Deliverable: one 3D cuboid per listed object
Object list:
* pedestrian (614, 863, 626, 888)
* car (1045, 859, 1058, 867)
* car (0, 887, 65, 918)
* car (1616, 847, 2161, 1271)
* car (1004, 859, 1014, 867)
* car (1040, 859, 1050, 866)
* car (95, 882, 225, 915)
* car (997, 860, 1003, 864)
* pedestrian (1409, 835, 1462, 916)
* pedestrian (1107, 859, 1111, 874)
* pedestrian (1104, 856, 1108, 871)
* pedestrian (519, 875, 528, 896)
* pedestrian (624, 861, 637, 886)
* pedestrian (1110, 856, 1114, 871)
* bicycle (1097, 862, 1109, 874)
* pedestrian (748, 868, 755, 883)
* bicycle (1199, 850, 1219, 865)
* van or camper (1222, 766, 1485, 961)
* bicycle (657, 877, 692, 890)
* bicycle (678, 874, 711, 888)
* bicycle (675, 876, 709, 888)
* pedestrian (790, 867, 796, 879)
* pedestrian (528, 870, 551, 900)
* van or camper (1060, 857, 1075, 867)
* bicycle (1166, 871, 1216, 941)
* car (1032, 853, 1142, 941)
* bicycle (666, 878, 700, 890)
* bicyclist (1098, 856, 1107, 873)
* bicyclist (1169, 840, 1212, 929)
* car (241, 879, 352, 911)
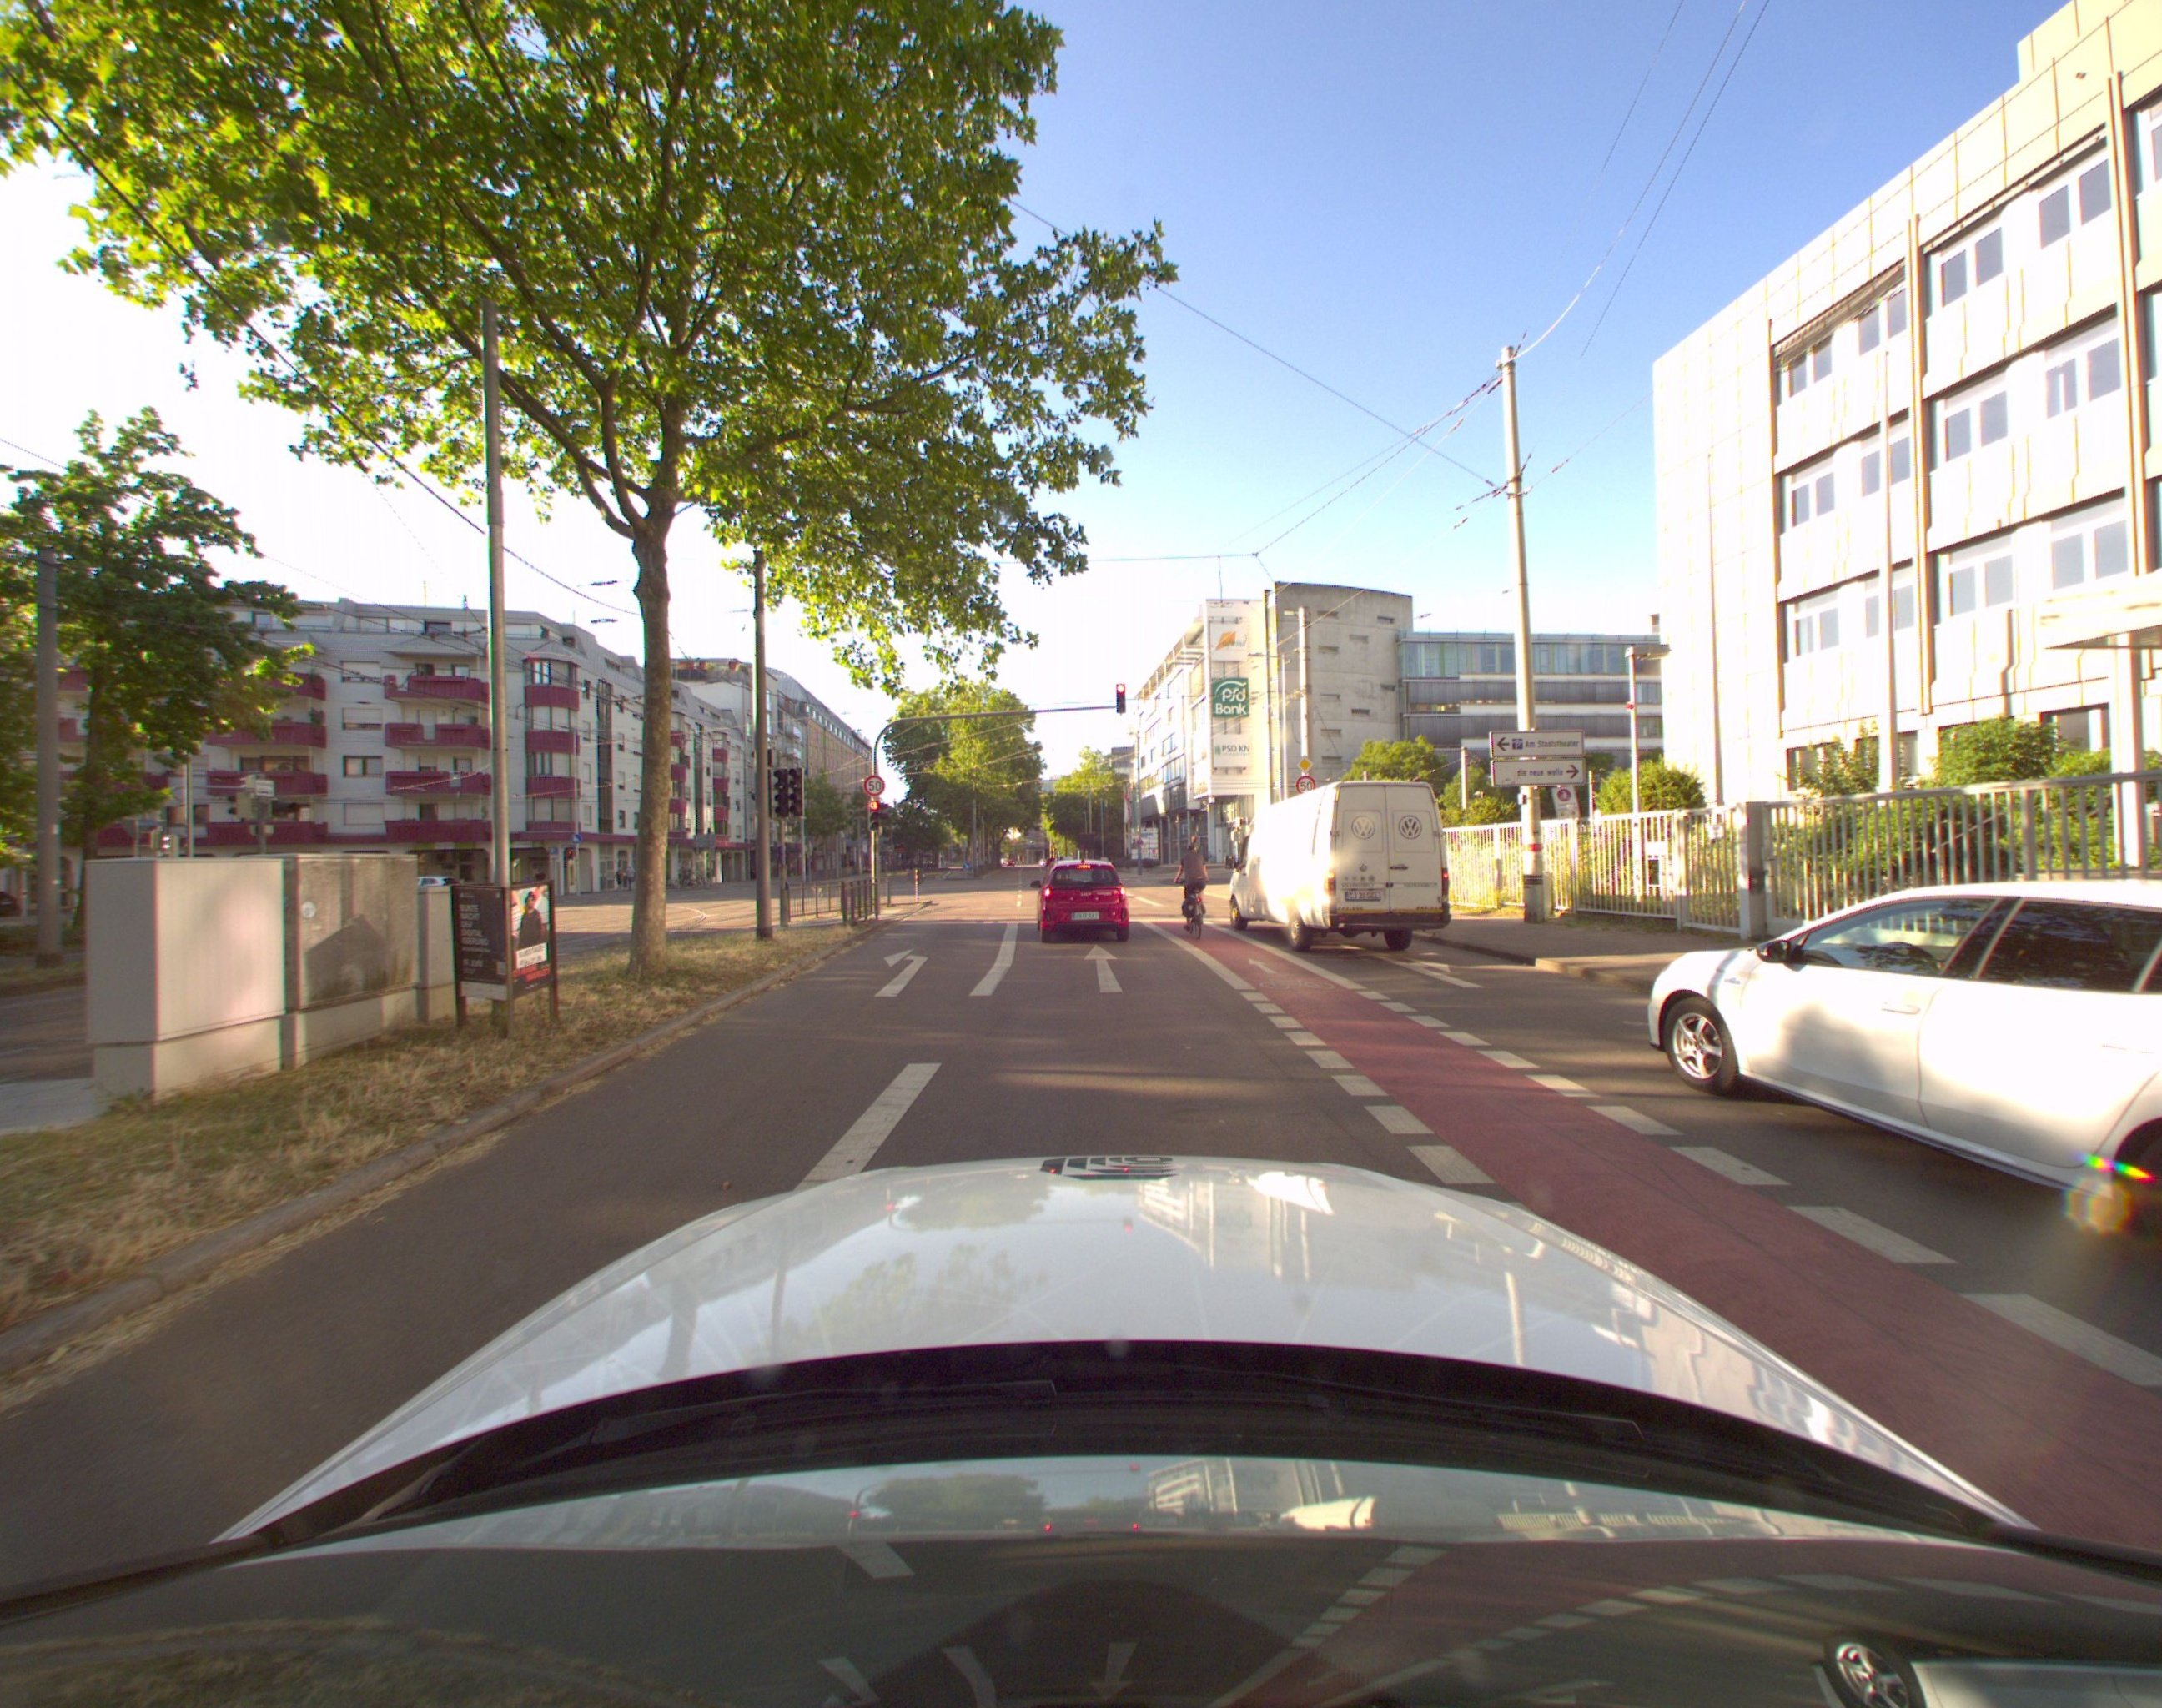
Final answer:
[{"bbox_3d":[-31.613,1.488,55.821,0.510,1.699,0.527,-2,0,-7],"label":"pedestrian"},{"bbox_3d":[-6.243,1.865,172.752,2.475,1.528,4.422,-2,0,-6],"label":"car"},{"bbox_3d":[-56.119,2.549,42.178,3.994,1.464,1.792,-2,0,-15],"label":"car"},{"bbox_3d":[4.788,0.724,4.040,1.794,1.501,3.984,-1,0,3],"label":"car"},{"bbox_3d":[-16.275,2.050,184.375,2.057,1.654,3.480,-2,0,-10],"label":"car"},{"bbox_3d":[-8.405,1.901,189.232,1.883,1.528,4.420,-2,0,-8],"label":"car"},{"bbox_3d":[-49.328,2.353,43.713,4.265,1.464,1.792,-2,0,-15],"label":"car"},{"bbox_3d":[-23.765,2.378,239.258,1.572,1.306,3.333,-2,0,-6],"label":"car"},{"bbox_3d":[7.938,0.479,18.257,0.783,1.748,0.772,-2,0,0],"label":"pedestrian"},{"bbox_3d":[2.940,1.367,86.903,0.294,1.562,0.354,-2,0,-14],"label":"pedestrian"},{"bbox_3d":[2.664,0.981,86.530,0.294,1.562,0.300,-2,0,-15],"label":"pedestrian"},{"bbox_3d":[-33.498,1.899,48.941,0.303,1.214,0.317,-2,0,-10],"label":"pedestrian"},{"bbox_3d":[-30.882,1.341,55.840,0.509,1.699,0.528,-2,0,-1],"label":"pedestrian"},{"bbox_3d":[3.316,0.976,86.927,0.295,1.562,0.312,-2,-1,-23],"label":"pedestrian"},{"bbox_3d":[2.163,1.357,80.555,0.791,1.161,2.494,-2,0,-6],"label":"bicycle"},{"bbox_3d":[-33.801,2.182,83.555,0.510,1.459,0.526,-2,0,-8],"label":"pedestrian"},{"bbox_3d":[13.219,0.376,84.371,1.932,1.443,0.574,-2,0,-6],"label":"bicycle"},{"bbox_3d":[4.423,0.154,14.700,2.264,2.733,6.338,1,0,-4],"label":"van or camper"},{"bbox_3d":[-29.436,2.133,59.021,2.168,0.787,0.639,-2,0,-9],"label":"bicycle"},{"bbox_3d":[-29.315,2.057,61.802,2.168,0.951,0.490,-2,0,-9],"label":"bicycle"},{"bbox_3d":[-29.216,2.120,61.166,2.168,0.824,0.526,-2,0,-9],"label":"bicycle"},{"bbox_3d":[-34.459,2.257,97.540,0.510,1.459,0.527,-2,0,-7],"label":"pedestrian"},{"bbox_3d":[-31.052,1.750,46.706,0.708,1.662,1.030,-2,0,-9],"label":"pedestrian"},{"bbox_3d":[-2.339,1.395,141.387,2.144,1.750,4.420,-2,0,-8],"label":"van or camper"},{"bbox_3d":[2.119,0.965,15.967,0.741,1.224,2.156,0,0,1],"label":"bicycle"},{"bbox_3d":[-0.002,0.754,16.075,1.836,1.489,3.710,-2,0,-5],"label":"car"},{"bbox_3d":[-29.243,2.171,59.802,2.168,0.787,0.490,-2,0,-9],"label":"bicycle"},{"bbox_3d":[2.122,1.038,80.819,0.784,1.635,0.637,-2,0,-7],"label":"bicyclist"},{"bbox_3d":[2.111,0.576,15.732,0.740,1.669,0.745,0,0,1],"label":"bicyclist"},{"bbox_3d":[-43.386,2.232,45.123,3.997,1.464,1.791,-2,0,-17],"label":"car"}]
